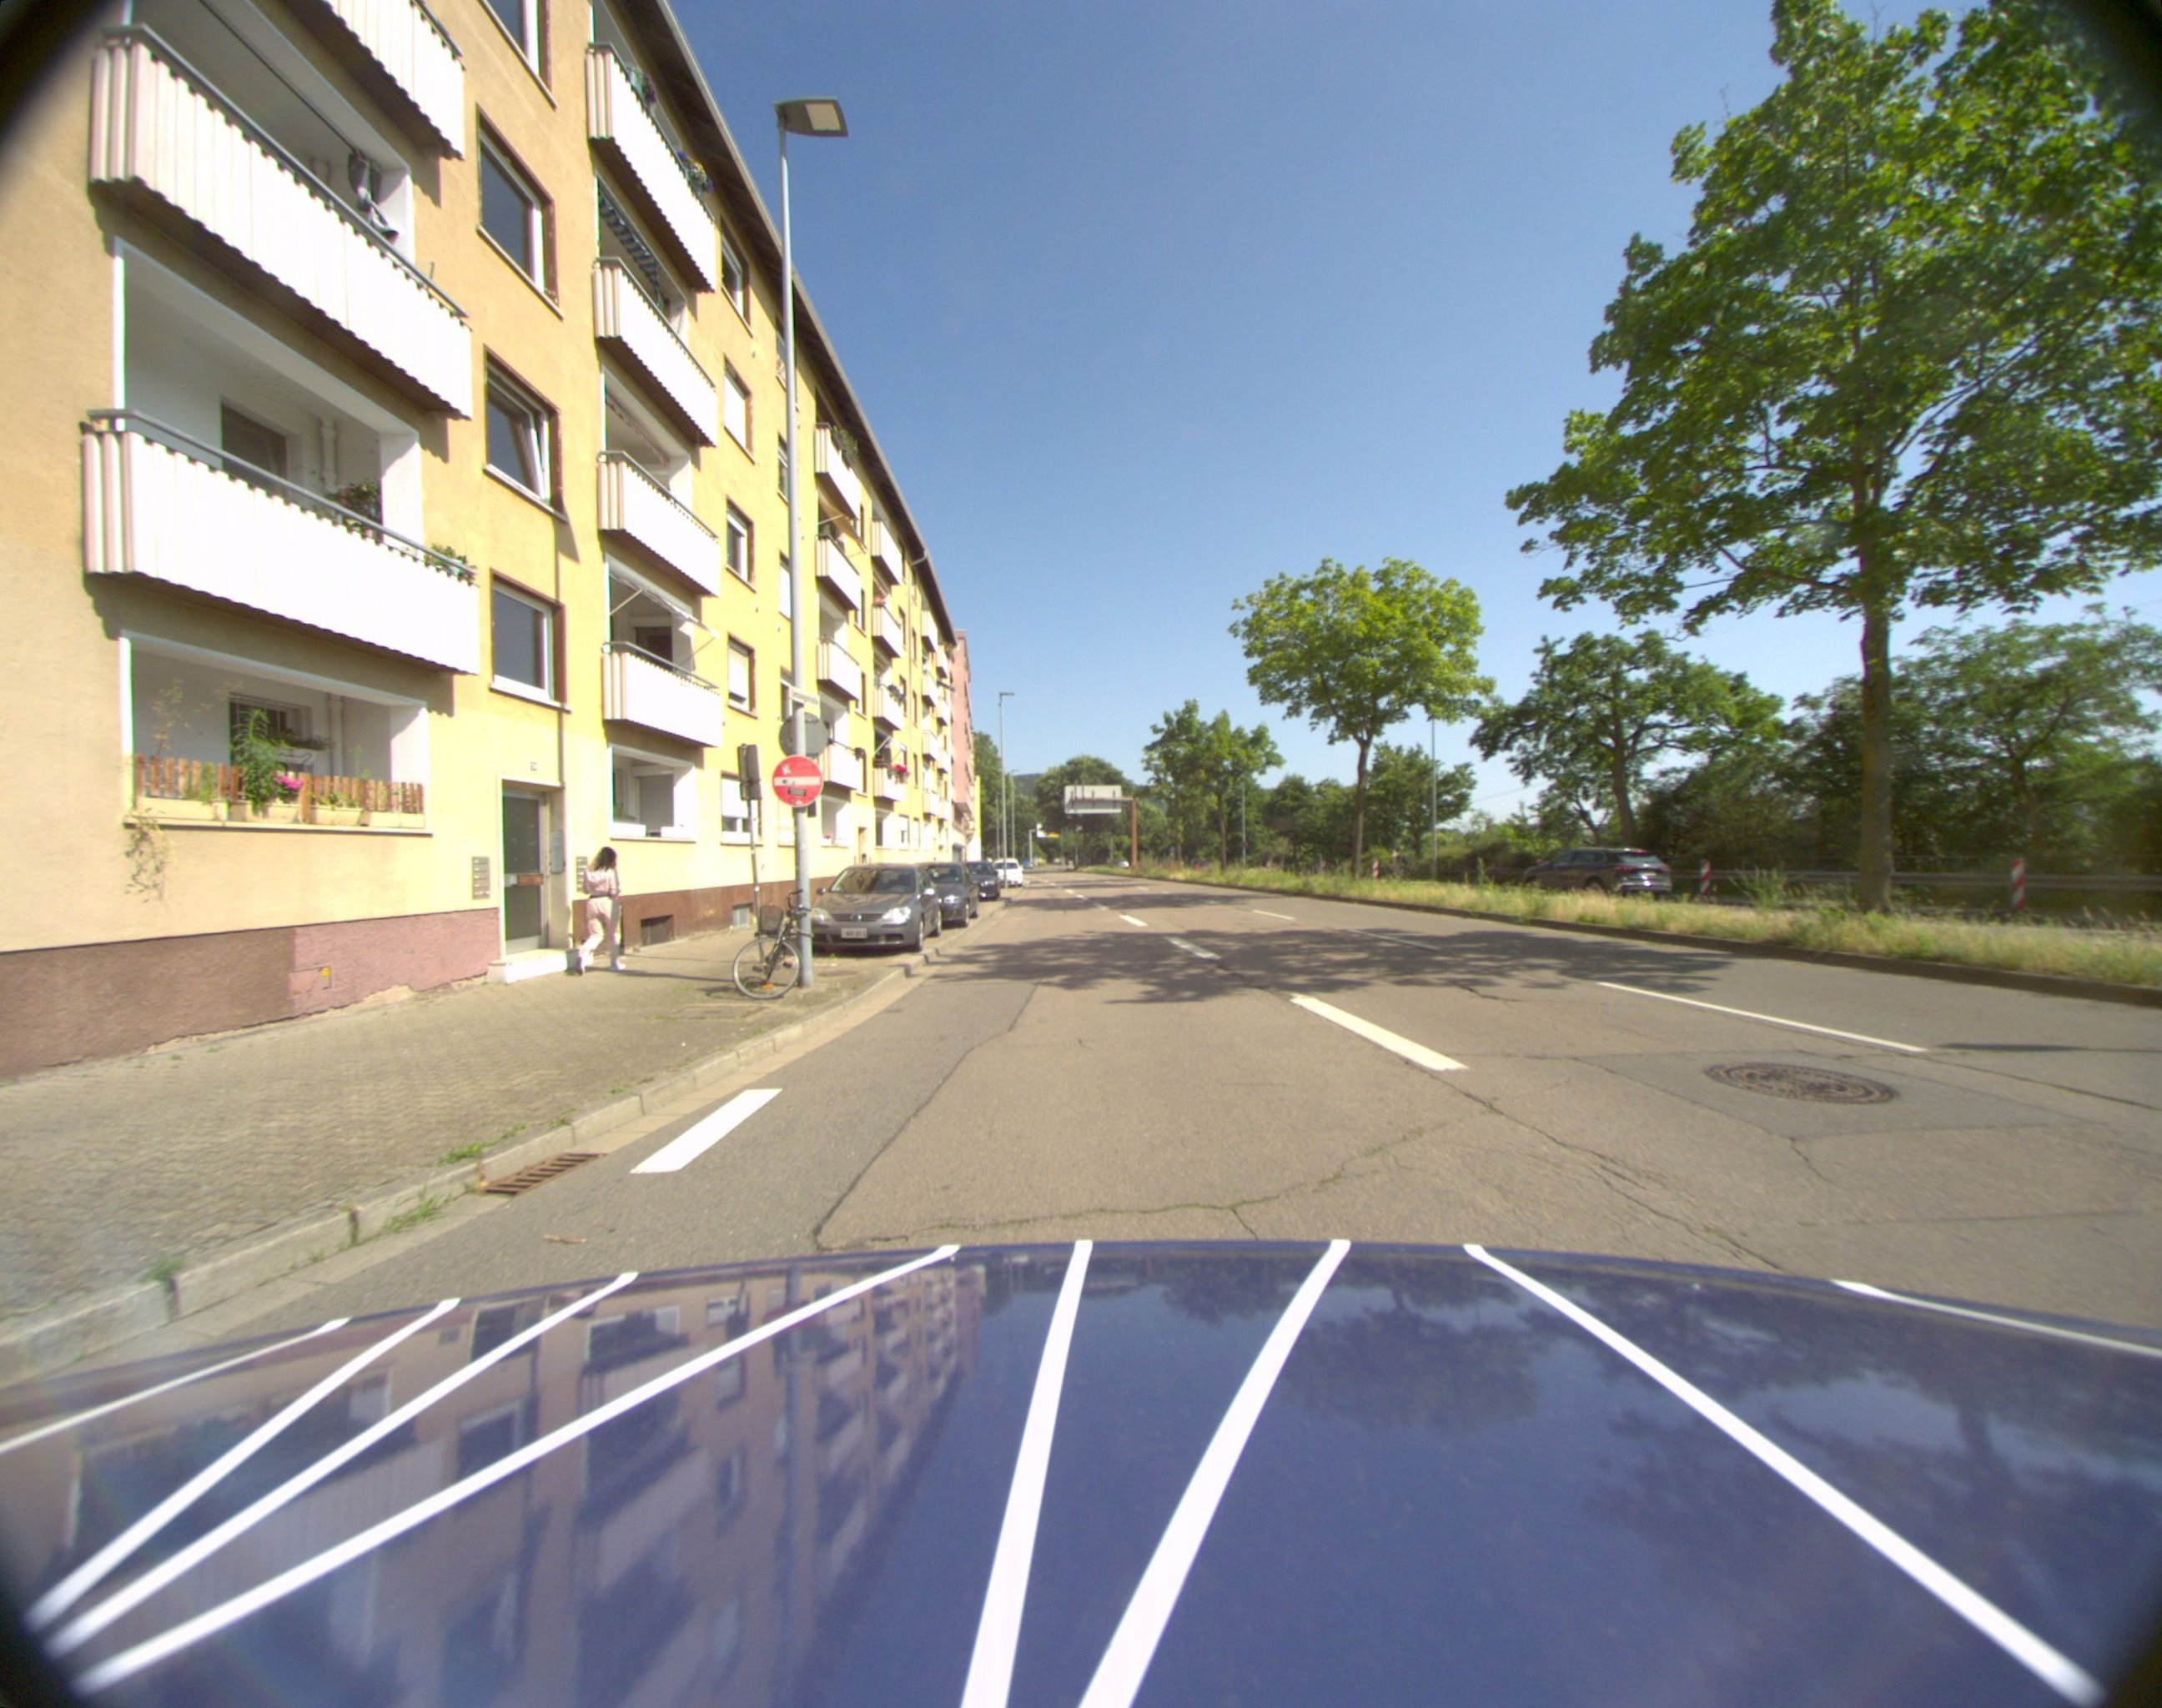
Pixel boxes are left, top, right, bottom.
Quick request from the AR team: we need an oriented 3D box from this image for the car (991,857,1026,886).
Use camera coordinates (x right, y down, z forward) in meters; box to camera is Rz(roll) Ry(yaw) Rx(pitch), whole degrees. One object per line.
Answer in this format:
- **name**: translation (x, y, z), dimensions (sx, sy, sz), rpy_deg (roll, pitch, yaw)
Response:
- **car**: translation (-3.986, 0.927, 42.168), dimensions (1.761, 1.497, 4.126), rpy_deg (0, 0, -4)

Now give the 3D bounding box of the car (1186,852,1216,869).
- **car**: translation (10.939, 0.604, 69.468), dimensions (1.768, 1.465, 4.083), rpy_deg (-1, 0, -4)

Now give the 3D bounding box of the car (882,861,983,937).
- **car**: translation (-3.330, 0.951, 17.822), dimensions (1.715, 1.453, 4.254), rpy_deg (-1, 1, -3)

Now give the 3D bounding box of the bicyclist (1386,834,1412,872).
- **bicyclist**: translation (15.571, -0.041, 37.224), dimensions (0.699, 1.821, 1.016), rpy_deg (-1, 1, -11)

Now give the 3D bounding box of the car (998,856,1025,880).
- **car**: translation (-4.786, 0.937, 52.714), dimensions (1.741, 1.532, 4.351), rpy_deg (0, 1, -4)

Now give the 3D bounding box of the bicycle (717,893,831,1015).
- **bicycle**: translation (-3.396, 1.059, 8.574), dimensions (0.704, 1.117, 1.744), rpy_deg (-1, 1, -6)

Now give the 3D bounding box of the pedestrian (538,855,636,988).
- **pedestrian**: translation (-6.228, 0.816, 9.628), dimensions (0.657, 1.600, 0.824), rpy_deg (-1, 1, 1)

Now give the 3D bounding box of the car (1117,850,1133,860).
- **car**: translation (6.451, 0.103, 111.917), dimensions (1.650, 1.408, 3.967), rpy_deg (-1, 0, -7)

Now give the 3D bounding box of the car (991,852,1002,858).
- **car**: translation (-21.552, 0.351, 194.339), dimensions (1.684, 1.460, 3.569), rpy_deg (-1, 0, -27)

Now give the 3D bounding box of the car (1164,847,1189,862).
- **car**: translation (10.346, 0.075, 82.526), dimensions (1.803, 1.521, 3.997), rpy_deg (-1, 1, -6)

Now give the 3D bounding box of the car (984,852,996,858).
- **car**: translation (-22.500, 0.236, 187.623), dimensions (1.873, 1.444, 4.195), rpy_deg (0, 1, -25)

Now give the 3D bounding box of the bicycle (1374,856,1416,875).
- **bicycle**: translation (15.456, 0.567, 37.472), dimensions (0.695, 0.900, 2.340), rpy_deg (-1, 0, -11)

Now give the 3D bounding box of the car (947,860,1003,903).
- **car**: translation (-3.947, 0.993, 29.011), dimensions (1.805, 1.430, 4.587), rpy_deg (-1, 1, -4)

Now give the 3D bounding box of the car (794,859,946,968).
- **car**: translation (-3.432, 0.878, 13.113), dimensions (1.708, 1.505, 4.090), rpy_deg (-1, 0, -4)

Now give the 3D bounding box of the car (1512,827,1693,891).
- **car**: translation (15.599, 0.107, 23.143), dimensions (1.999, 1.724, 4.727), rpy_deg (1, 1, -4)
